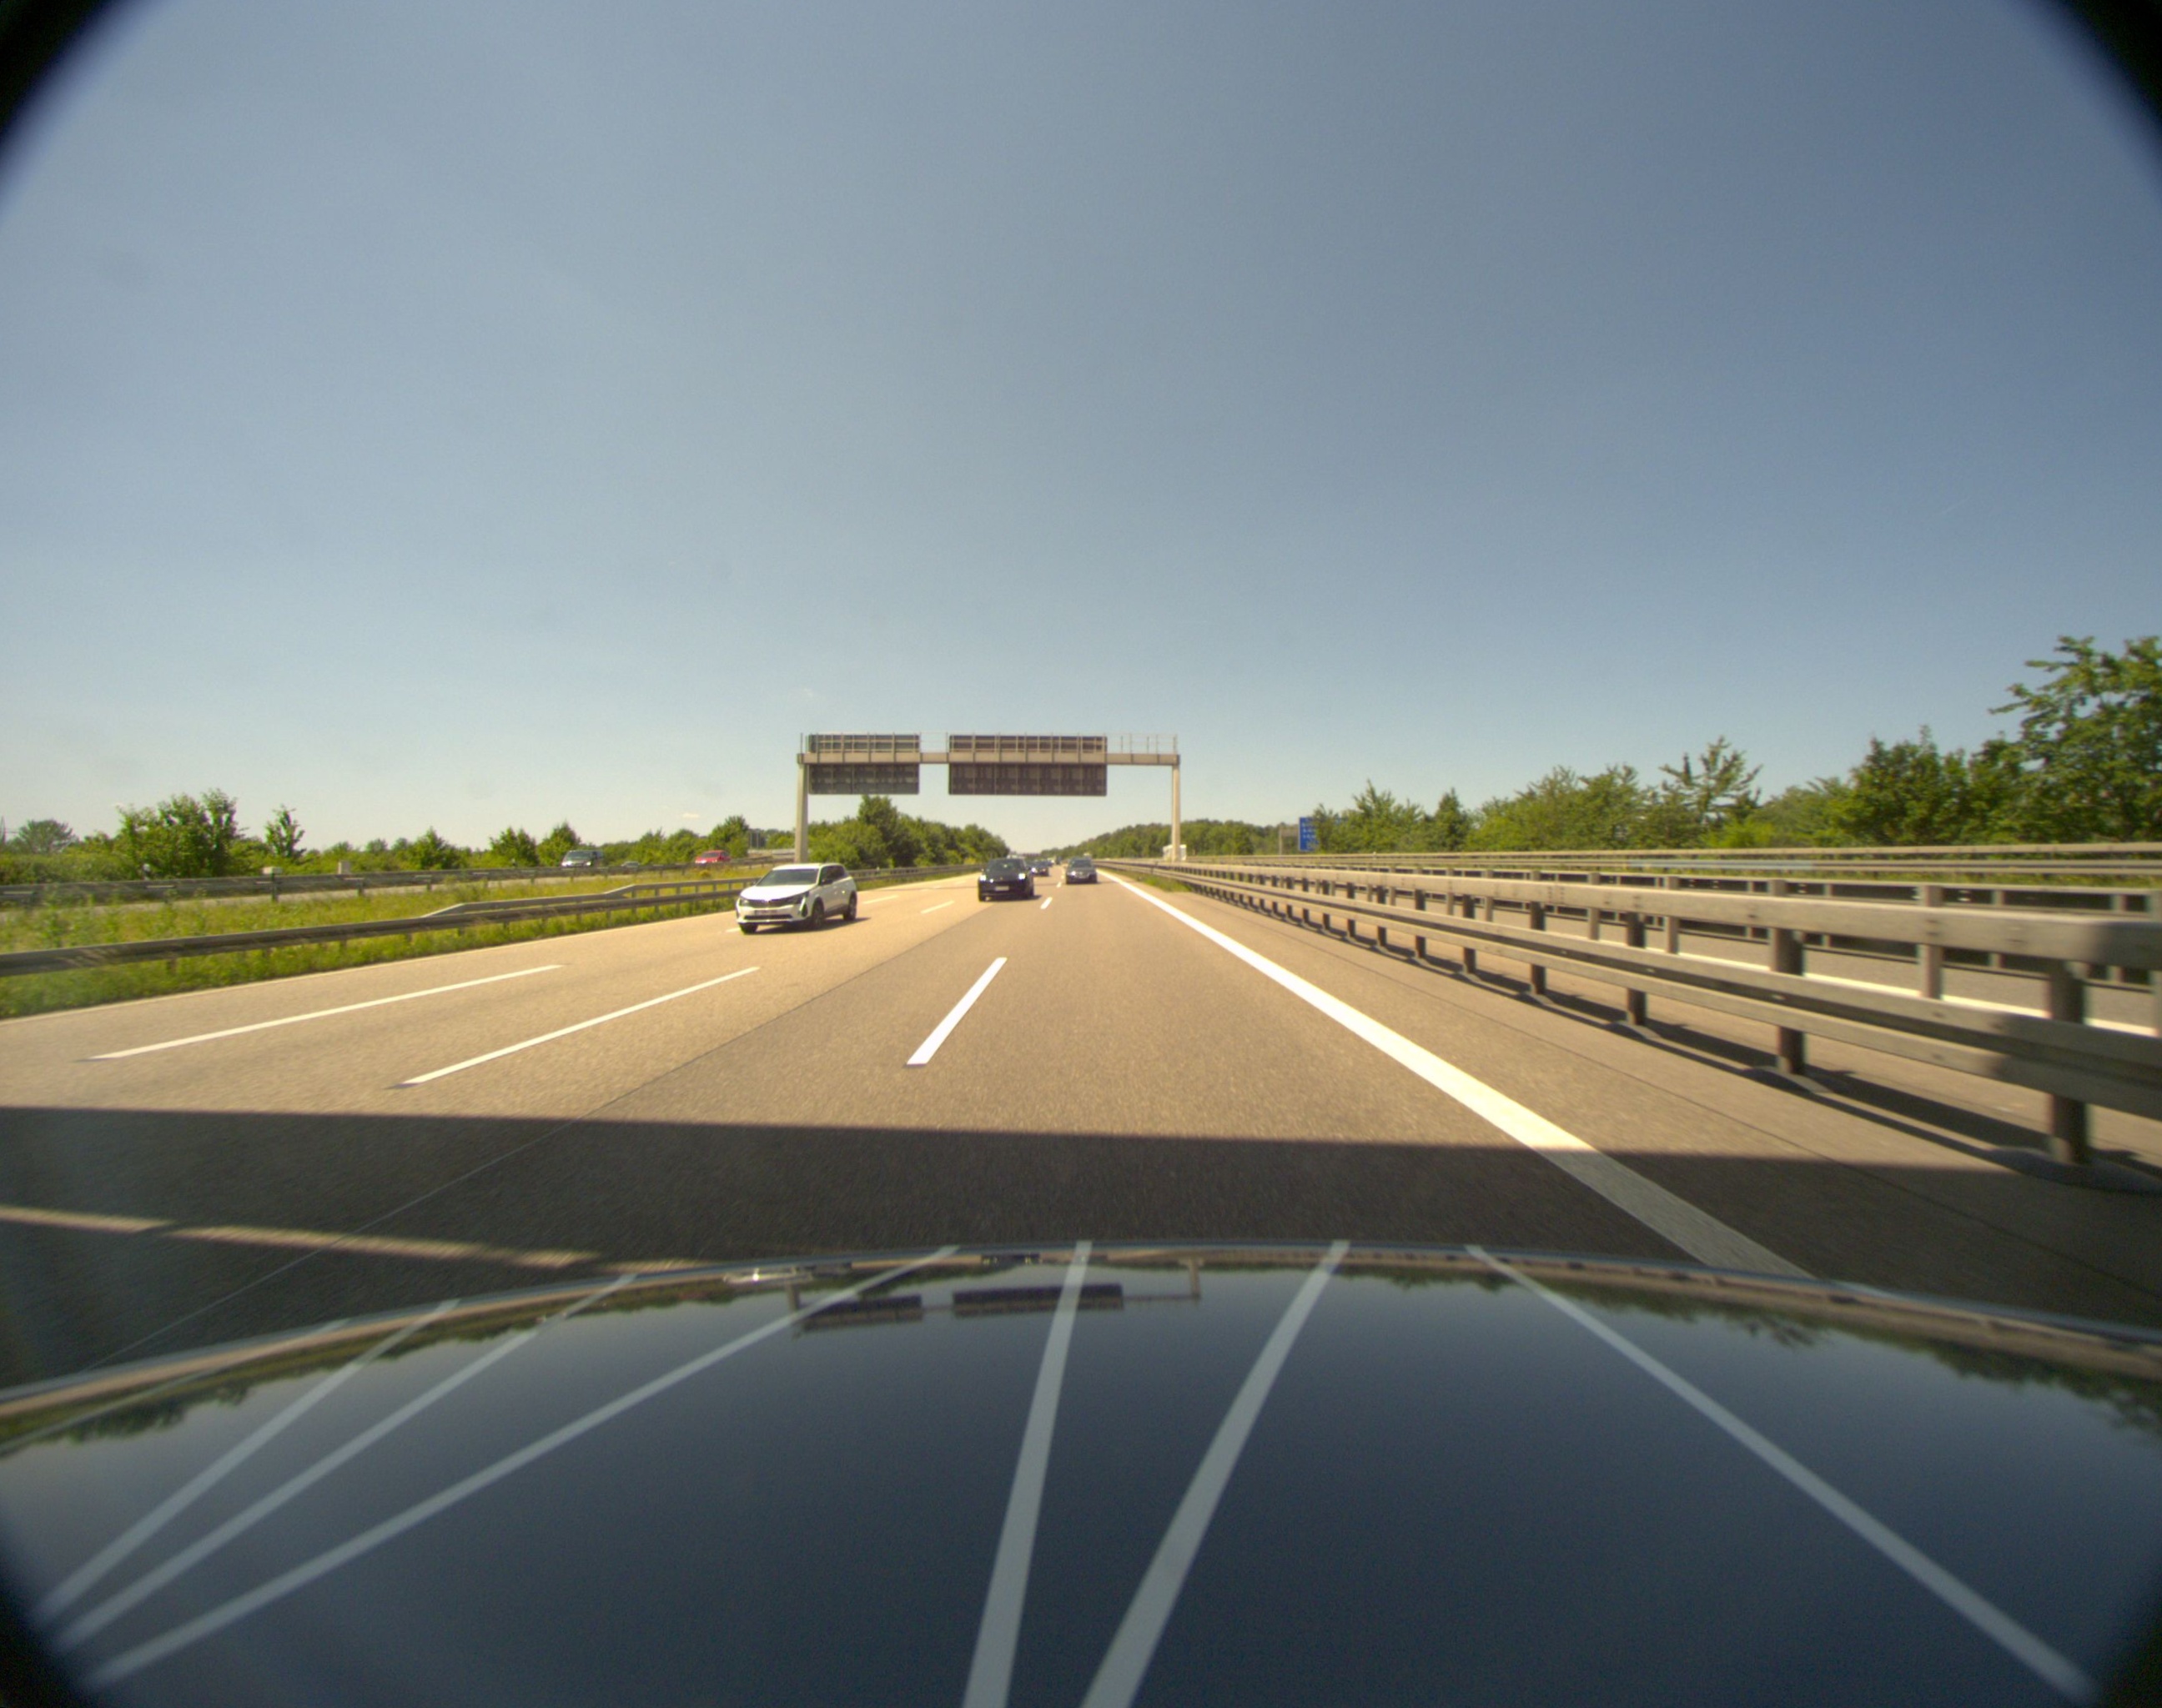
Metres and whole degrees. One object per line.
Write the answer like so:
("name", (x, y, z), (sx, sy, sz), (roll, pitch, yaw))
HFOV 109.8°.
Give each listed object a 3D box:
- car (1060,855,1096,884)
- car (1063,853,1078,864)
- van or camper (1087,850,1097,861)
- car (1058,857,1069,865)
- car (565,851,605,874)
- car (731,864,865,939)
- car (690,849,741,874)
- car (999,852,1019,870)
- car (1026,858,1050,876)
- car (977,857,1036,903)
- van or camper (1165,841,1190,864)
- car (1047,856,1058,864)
("car", (-0.106, 0.877, 44.690), (1.931, 1.499, 4.391), (-2, 0, 2))
("car", (-1.427, 0.630, 104.982), (1.931, 1.390, 4.117), (-2, 0, 0))
("van or camper", (3.326, 0.406, 231.913), (2.320, 3.291, 6.831), (-2, -1, -3))
("car", (-4.455, 1.697, 188.935), (2.000, 1.849, 3.996), (-2, 0, -12))
("car", (-36.167, 0.646, 55.505), (1.707, 1.565, 4.120), (-2, 0, -24))
("car", (-7.162, 1.128, 19.761), (1.748, 1.582, 4.619), (-2, 0, -1))
("car", (-25.380, 0.528, 52.954), (1.933, 1.585, 4.129), (-2, 0, -8))
("car", (-8.451, 0.805, 89.560), (1.808, 1.908, 4.295), (-2, 0, 2))
("car", (-3.674, 1.131, 65.944), (1.932, 1.390, 4.116), (-2, 0, -2))
("car", (-2.880, 0.966, 30.042), (1.932, 1.585, 4.131), (-2, 0, -1))
("van or camper", (13.447, -0.156, 106.259), (2.450, 3.069, 8.122), (-2, 0, 1))
("car", (-5.383, 1.071, 141.414), (1.932, 1.390, 4.116), (-2, 0, -3))
